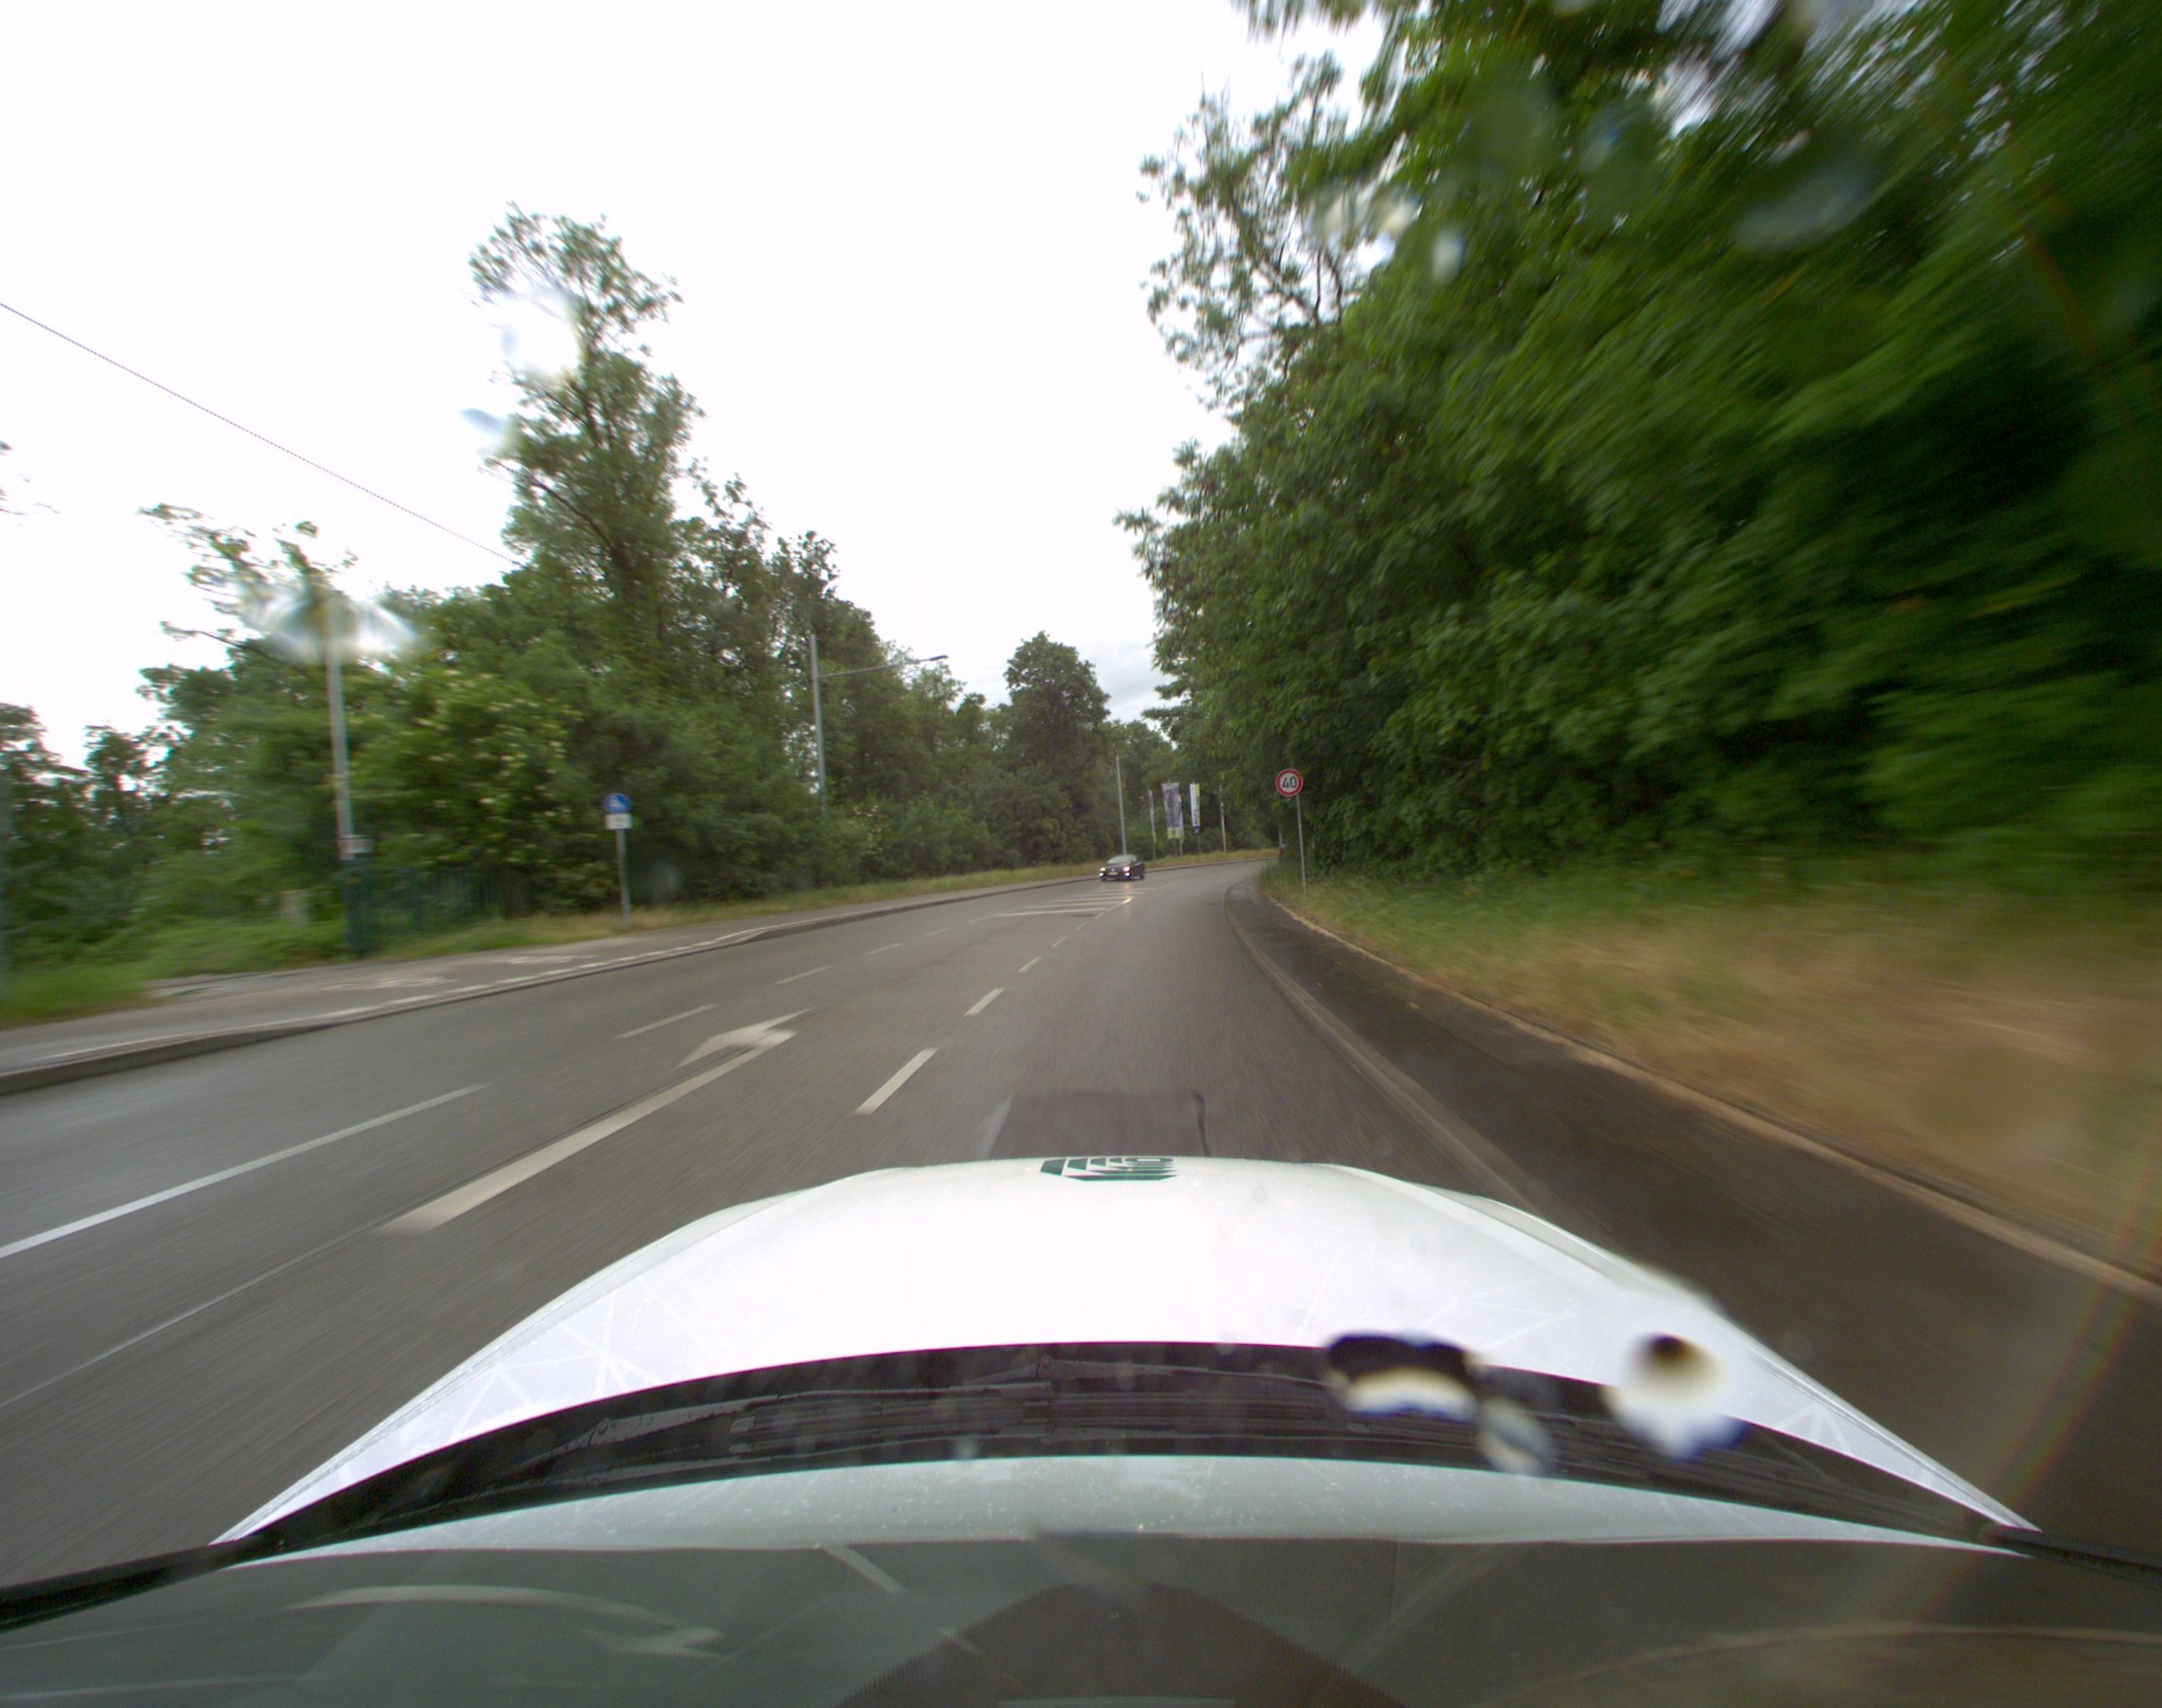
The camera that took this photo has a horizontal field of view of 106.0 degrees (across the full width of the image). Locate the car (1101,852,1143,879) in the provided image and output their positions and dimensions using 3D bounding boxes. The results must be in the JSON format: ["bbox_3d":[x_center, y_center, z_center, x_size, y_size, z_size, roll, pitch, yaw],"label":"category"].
[{"bbox_3d":[2.392,0.619,46.208,1.583,1.477,3.808,-1,0,15],"label":"car"}]

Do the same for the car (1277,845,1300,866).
[{"bbox_3d":[17.036,0.126,66.931,1.657,1.594,3.694,-1,0,11],"label":"car"}]
